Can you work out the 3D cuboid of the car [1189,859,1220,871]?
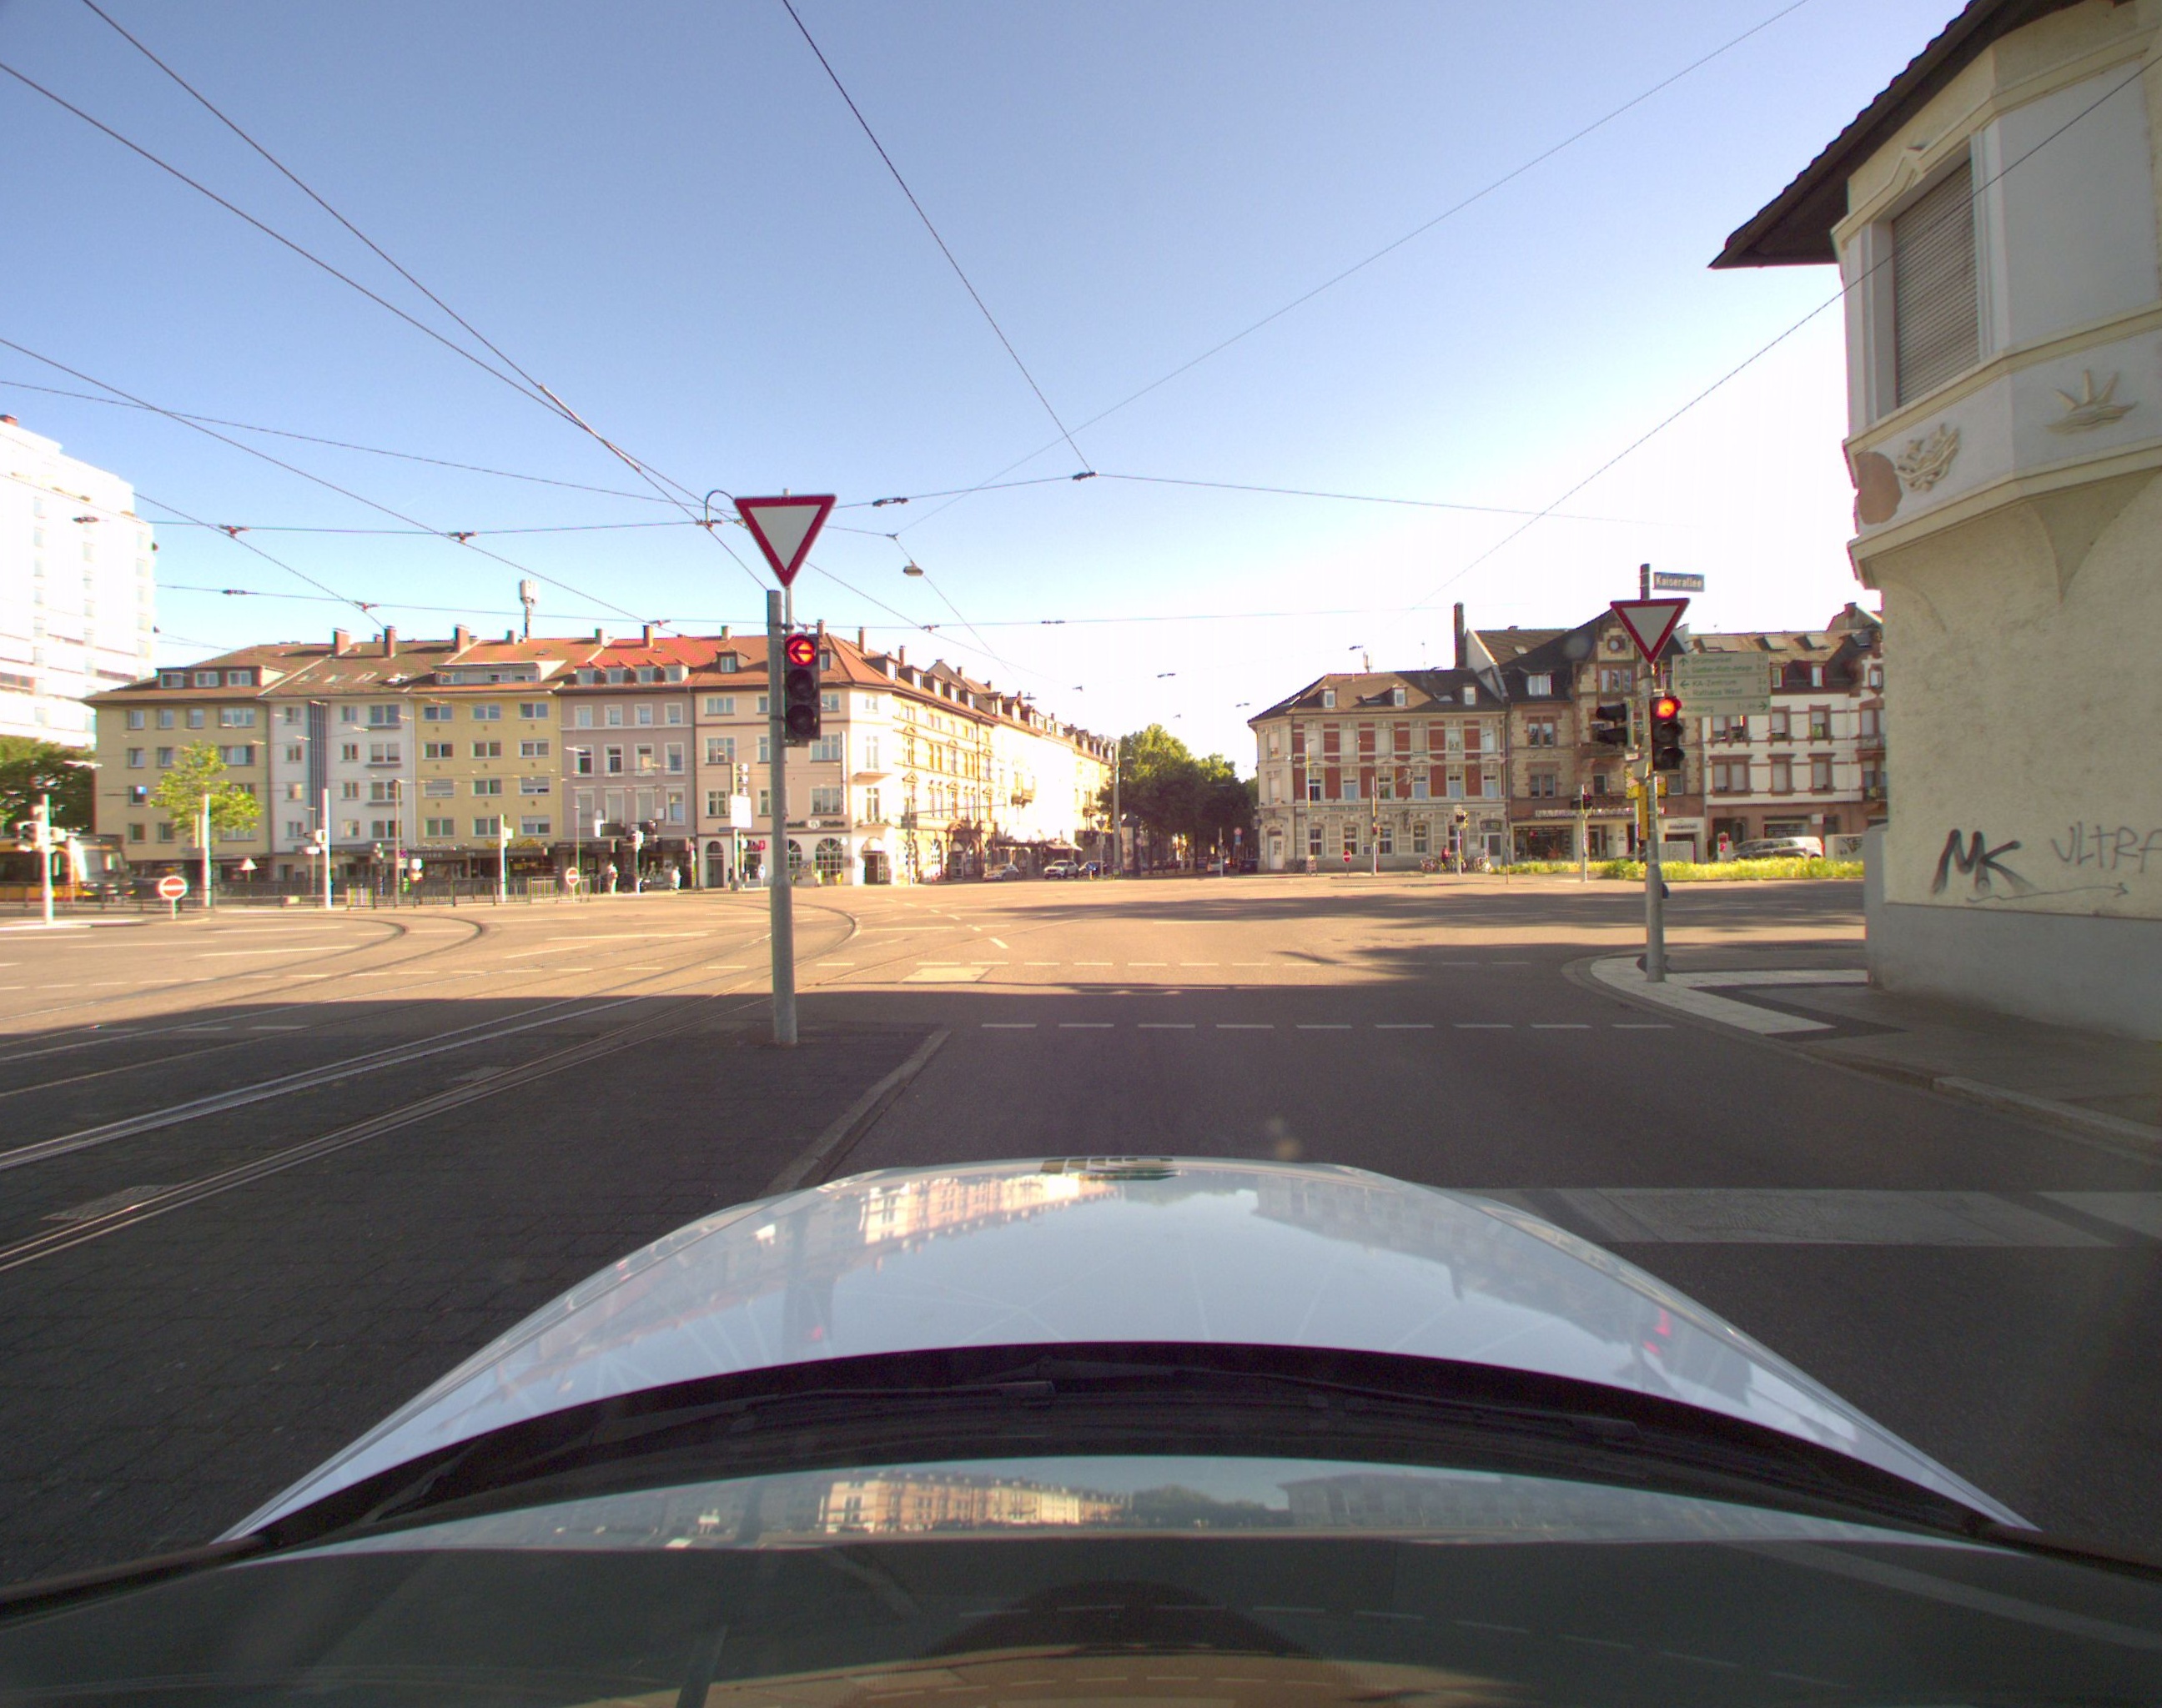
[{"bbox_3d":[17.487,1.538,114.997,4.078,1.646,1.754,1,0,17],"label":"car"}]

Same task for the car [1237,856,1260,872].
[{"bbox_3d":[16.905,0.999,82.055,1.637,1.524,3.772,-2,-1,20],"label":"car"}]

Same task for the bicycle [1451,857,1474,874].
[{"bbox_3d":[24.639,0.726,52.573,0.603,1.051,1.641,-1,0,-3],"label":"bicycle"}]

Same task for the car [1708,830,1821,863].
[{"bbox_3d":[37.168,-0.413,44.374,4.494,1.672,2.000,-1,0,1],"label":"car"}]

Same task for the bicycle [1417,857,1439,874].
[{"bbox_3d":[22.495,0.744,52.843,0.603,1.051,1.641,-1,0,-3],"label":"bicycle"}]

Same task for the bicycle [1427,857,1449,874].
[{"bbox_3d":[23.149,0.739,52.873,0.603,1.051,1.641,-1,0,-3],"label":"bicycle"}]

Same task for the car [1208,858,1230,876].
[{"bbox_3d":[13.860,1.298,81.781,1.661,1.756,3.776,-2,0,18],"label":"car"}]

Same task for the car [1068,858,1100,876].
[{"bbox_3d":[0.291,1.157,73.696,1.979,1.513,4.015,-1,0,14],"label":"car"}]

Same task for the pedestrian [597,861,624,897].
[{"bbox_3d":[-24.571,1.311,42.560,0.871,1.818,0.811,-1,0,2],"label":"pedestrian"}]

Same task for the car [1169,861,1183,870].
[{"bbox_3d":[15.865,1.849,136.207,1.728,1.397,4.141,1,0,16],"label":"car"}]

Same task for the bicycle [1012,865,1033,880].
[{"bbox_3d":[-4.761,1.507,66.931,0.745,1.135,2.821,-1,0,16],"label":"bicycle"}]

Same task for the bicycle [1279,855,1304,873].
[{"bbox_3d":[14.695,0.695,56.943,1.625,1.222,0.609,-1,0,18],"label":"bicycle"}]

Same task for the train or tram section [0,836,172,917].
[{"bbox_3d":[-52.994,1.184,38.388,16.478,3.570,3.313,-1,0,0],"label":"train or tram section"}]

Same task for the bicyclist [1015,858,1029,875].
[{"bbox_3d":[-4.820,1.018,66.807,0.787,1.375,1.113,-1,0,16],"label":"bicyclist"}]

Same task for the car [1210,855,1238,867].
[{"bbox_3d":[23.373,1.101,133.075,4.074,1.919,1.756,1,0,23],"label":"car"}]

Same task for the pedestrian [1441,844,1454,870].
[{"bbox_3d":[25.222,0.217,56.071,0.705,1.751,0.421,-1,0,3],"label":"pedestrian"}]

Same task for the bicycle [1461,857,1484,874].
[{"bbox_3d":[25.314,0.721,52.623,0.603,1.051,1.641,-1,0,-3],"label":"bicycle"}]

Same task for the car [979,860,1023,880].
[{"bbox_3d":[-6.598,1.308,67.703,2.080,1.545,4.382,-1,0,16],"label":"car"}]

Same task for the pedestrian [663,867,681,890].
[{"bbox_3d":[-28.559,1.709,56.830,0.787,1.527,0.860,-1,0,2],"label":"pedestrian"}]

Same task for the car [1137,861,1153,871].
[{"bbox_3d":[9.177,1.697,115.776,1.729,1.397,4.137,1,0,12],"label":"car"}]

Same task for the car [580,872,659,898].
[{"bbox_3d":[-30.275,1.994,53.537,3.978,1.464,1.998,-2,0,-4],"label":"car"}]

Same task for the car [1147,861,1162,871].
[{"bbox_3d":[11.064,1.741,122.713,1.729,1.397,4.137,1,0,12],"label":"car"}]

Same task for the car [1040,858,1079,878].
[{"bbox_3d":[-1.731,1.168,67.373,2.080,1.499,4.017,-1,0,16],"label":"car"}]

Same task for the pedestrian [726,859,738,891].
[{"bbox_3d":[-22.779,1.359,53.126,0.506,2.013,0.505,-1,0,5],"label":"pedestrian"}]

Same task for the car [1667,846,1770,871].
[{"bbox_3d":[37.360,0.250,47.814,4.496,1.341,2.000,-1,0,0],"label":"car"}]

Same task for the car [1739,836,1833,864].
[{"bbox_3d":[45.384,-0.226,52.475,4.356,1.654,1.999,-1,0,-2],"label":"car"}]

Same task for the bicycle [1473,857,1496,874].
[{"bbox_3d":[26.052,0.716,52.615,0.603,1.051,1.641,-1,0,-3],"label":"bicycle"}]

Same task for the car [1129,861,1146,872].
[{"bbox_3d":[7.603,1.661,110.006,1.729,1.397,4.137,1,0,12],"label":"car"}]

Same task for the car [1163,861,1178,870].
[{"bbox_3d":[14.442,1.824,131.460,1.728,1.397,4.141,1,0,16],"label":"car"}]

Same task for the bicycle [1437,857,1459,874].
[{"bbox_3d":[23.812,0.734,52.873,0.603,1.051,1.641,-1,0,-3],"label":"bicycle"}]

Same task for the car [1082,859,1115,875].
[{"bbox_3d":[1.725,1.239,79.033,2.080,1.447,4.382,-1,0,16],"label":"car"}]
